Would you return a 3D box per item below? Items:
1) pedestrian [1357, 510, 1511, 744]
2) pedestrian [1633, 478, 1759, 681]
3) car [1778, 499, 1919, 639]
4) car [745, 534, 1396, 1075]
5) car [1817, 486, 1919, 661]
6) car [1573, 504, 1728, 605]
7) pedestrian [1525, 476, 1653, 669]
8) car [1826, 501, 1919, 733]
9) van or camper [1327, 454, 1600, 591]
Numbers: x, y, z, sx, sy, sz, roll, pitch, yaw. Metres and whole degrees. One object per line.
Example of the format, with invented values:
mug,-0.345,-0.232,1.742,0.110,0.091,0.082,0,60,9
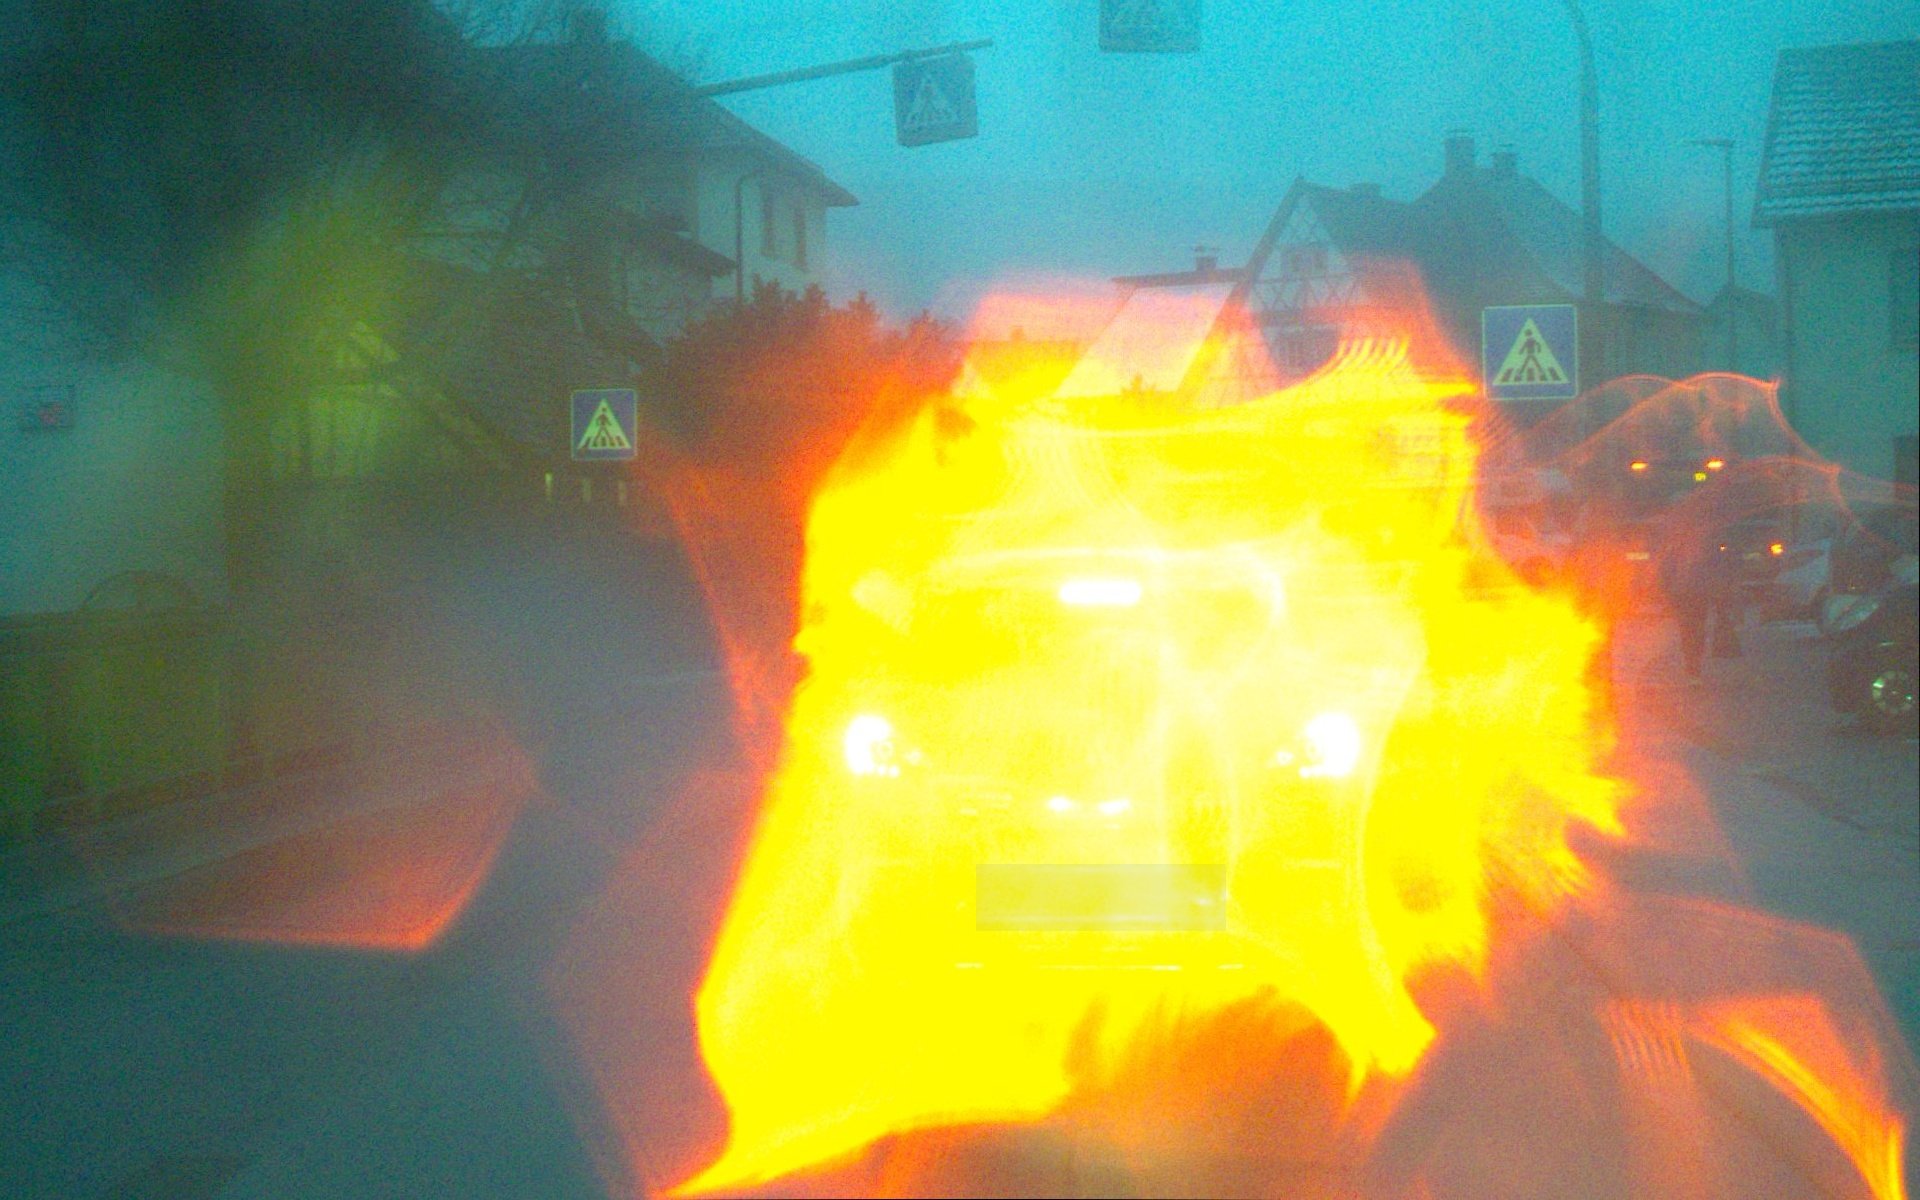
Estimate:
pedestrian,3.685,0.203,26.689,0.880,1.729,0.954,-4,0,21
pedestrian,6.558,-0.190,30.598,0.849,1.727,0.971,-4,0,21
car,11.141,-0.401,38.139,3.902,1.469,1.749,-2,1,16
car,0.316,0.527,11.497,1.795,1.471,4.000,0,1,0
car,9.256,-0.296,31.603,2.584,1.542,1.550,-2,1,13
car,11.593,-0.779,57.543,1.849,1.631,4.331,0,1,21
pedestrian,5.681,-0.255,31.023,0.868,1.661,0.991,-4,0,21
car,7.119,0.053,22.454,2.765,1.469,1.426,-2,1,14
van or camper,12.440,-1.891,85.115,6.069,2.945,2.402,-4,0,29
